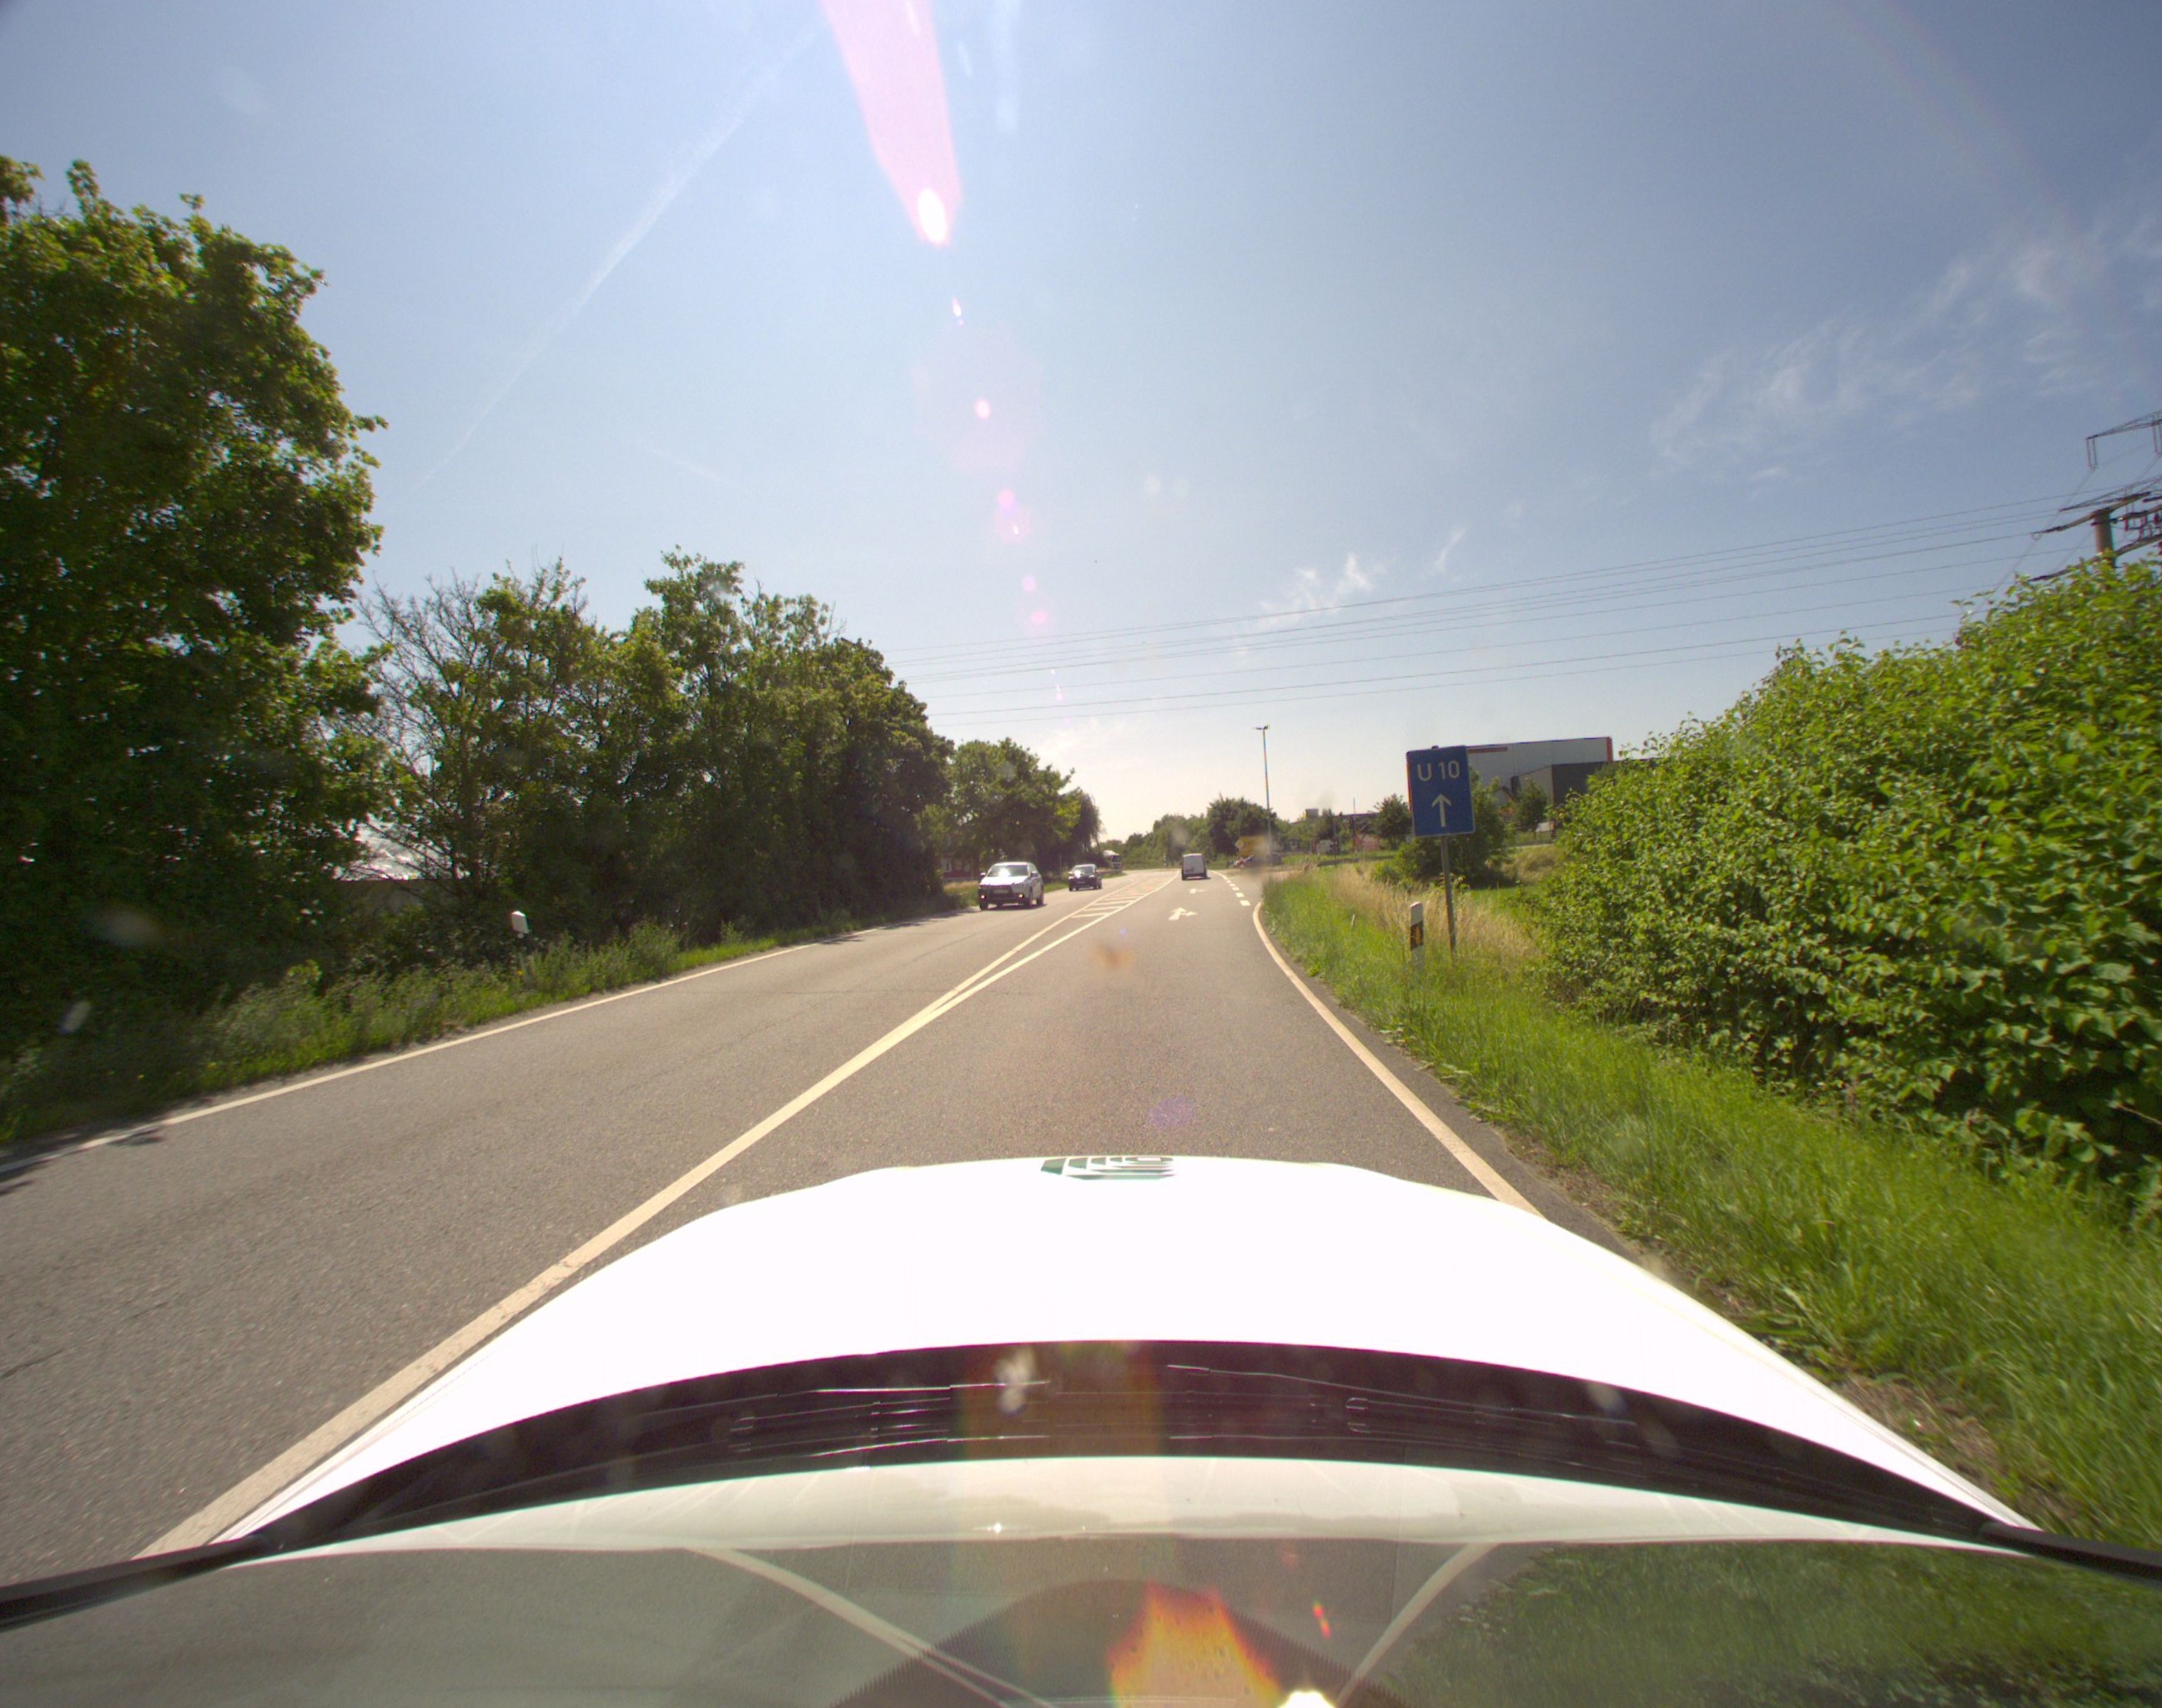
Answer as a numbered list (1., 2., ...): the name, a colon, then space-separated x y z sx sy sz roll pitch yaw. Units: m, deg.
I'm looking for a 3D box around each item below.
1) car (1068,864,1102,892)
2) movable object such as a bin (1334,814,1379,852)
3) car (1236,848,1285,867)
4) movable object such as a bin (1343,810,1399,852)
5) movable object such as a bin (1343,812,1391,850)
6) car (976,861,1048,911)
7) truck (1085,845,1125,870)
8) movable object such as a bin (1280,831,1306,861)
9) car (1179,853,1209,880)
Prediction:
1. car: 0.270 1.463 50.820 1.724 1.590 3.963 -2 -1 5
2. movable object such as a bin: 40.177 -3.025 118.949 5.681 5.270 3.230 -2 -3 10
3. car: 17.397 0.338 79.217 4.486 1.508 1.919 -4 -1 8
4. movable object such as a bin: 39.099 -3.076 110.032 6.550 5.148 3.816 -2 -3 10
5. movable object such as a bin: 35.579 -2.824 101.480 5.053 4.275 2.842 -2 -3 10
6. car: -2.344 1.069 28.879 1.733 1.589 4.537 -1 -1 5
7. truck: 4.080 0.632 139.793 6.669 4.056 2.816 -2 -1 45
8. movable object such as a bin: 25.691 -0.913 98.992 2.310 3.250 5.111 -2 -3 7
9. car: 7.954 0.869 57.449 1.894 1.732 3.828 -3 -1 6
